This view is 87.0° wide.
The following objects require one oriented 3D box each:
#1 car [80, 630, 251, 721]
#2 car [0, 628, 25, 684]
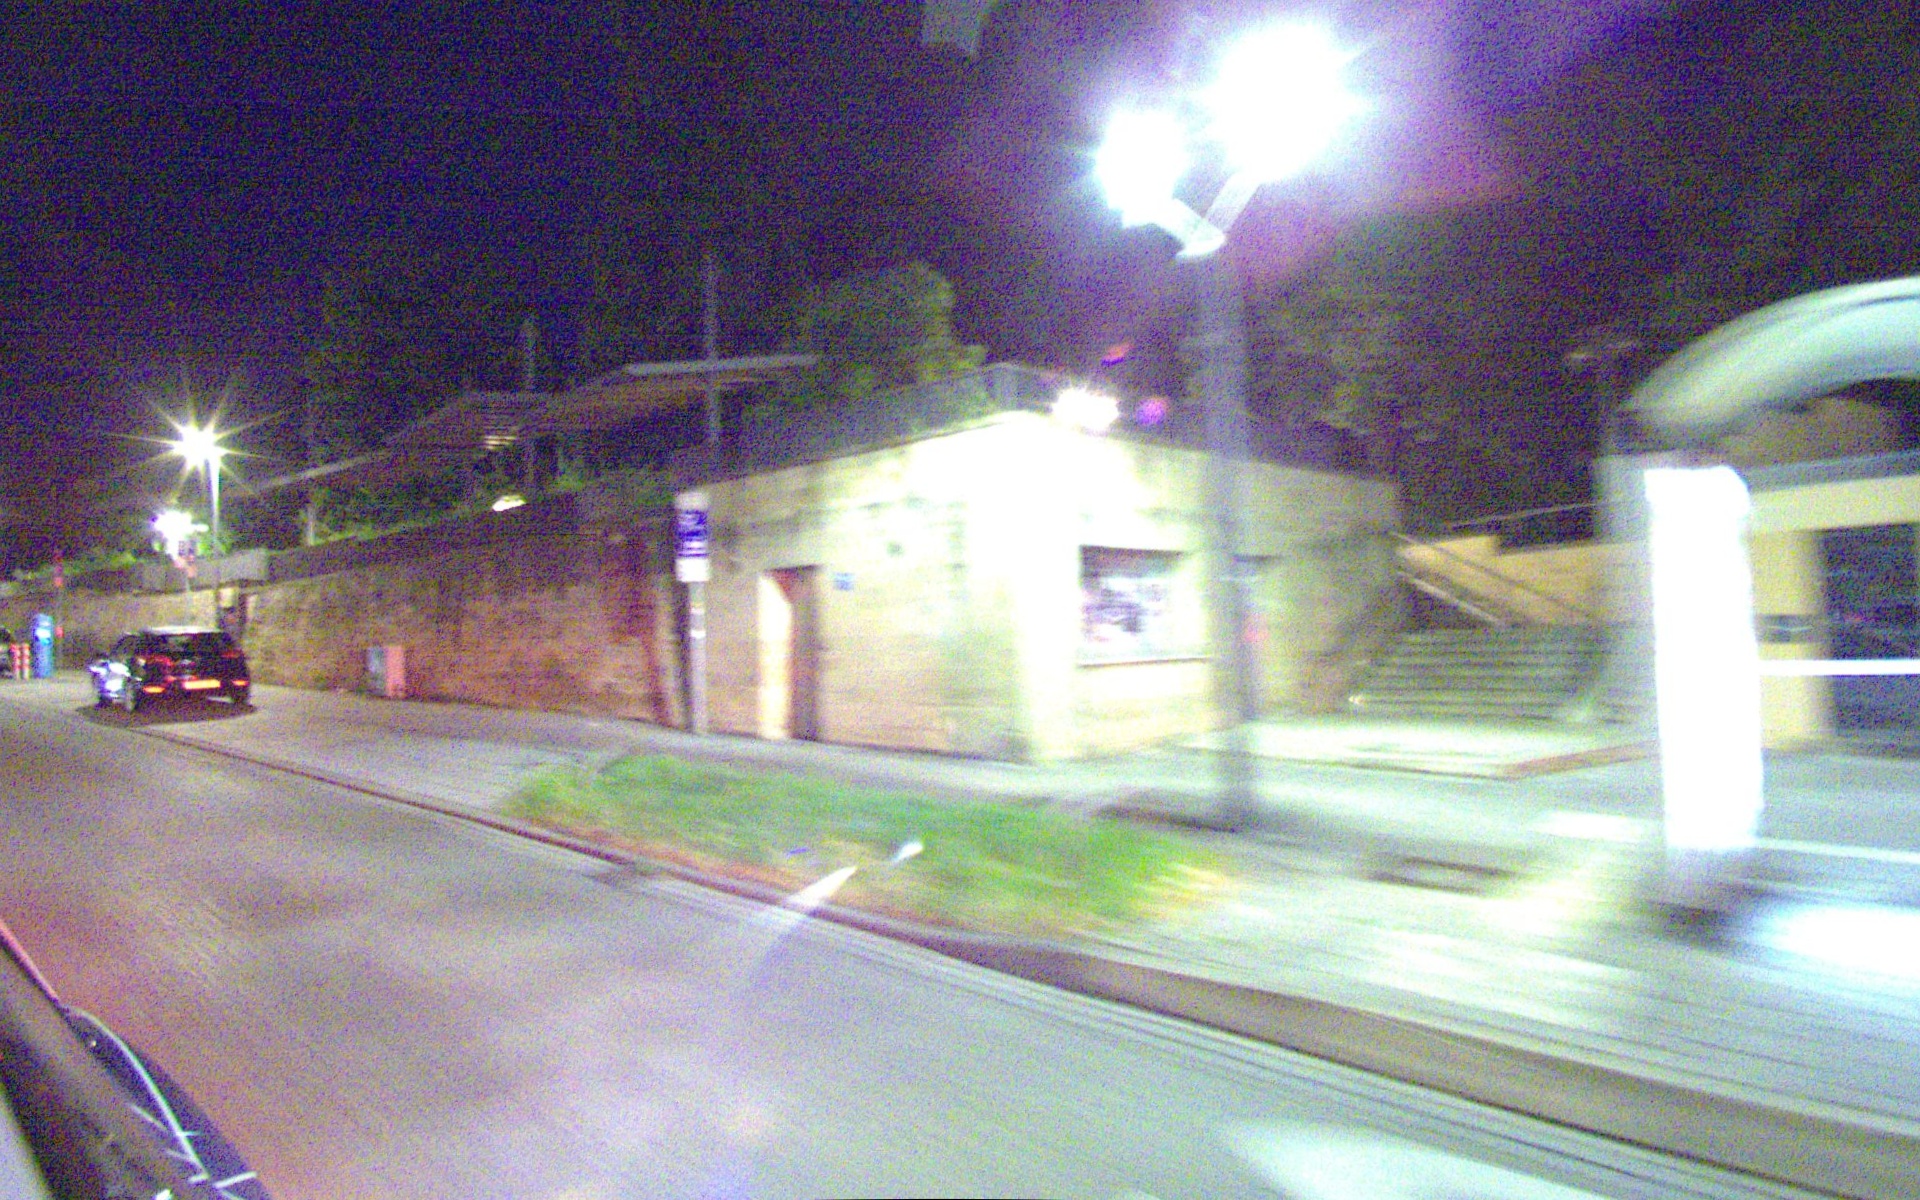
[{"bbox_3d":[-15.012,1.337,19.046,4.124,1.447,1.675,-2,0,40],"label":"car"},{"bbox_3d":[-28.952,1.633,29.587,3.683,1.535,1.677,0,0,36],"label":"car"}]
